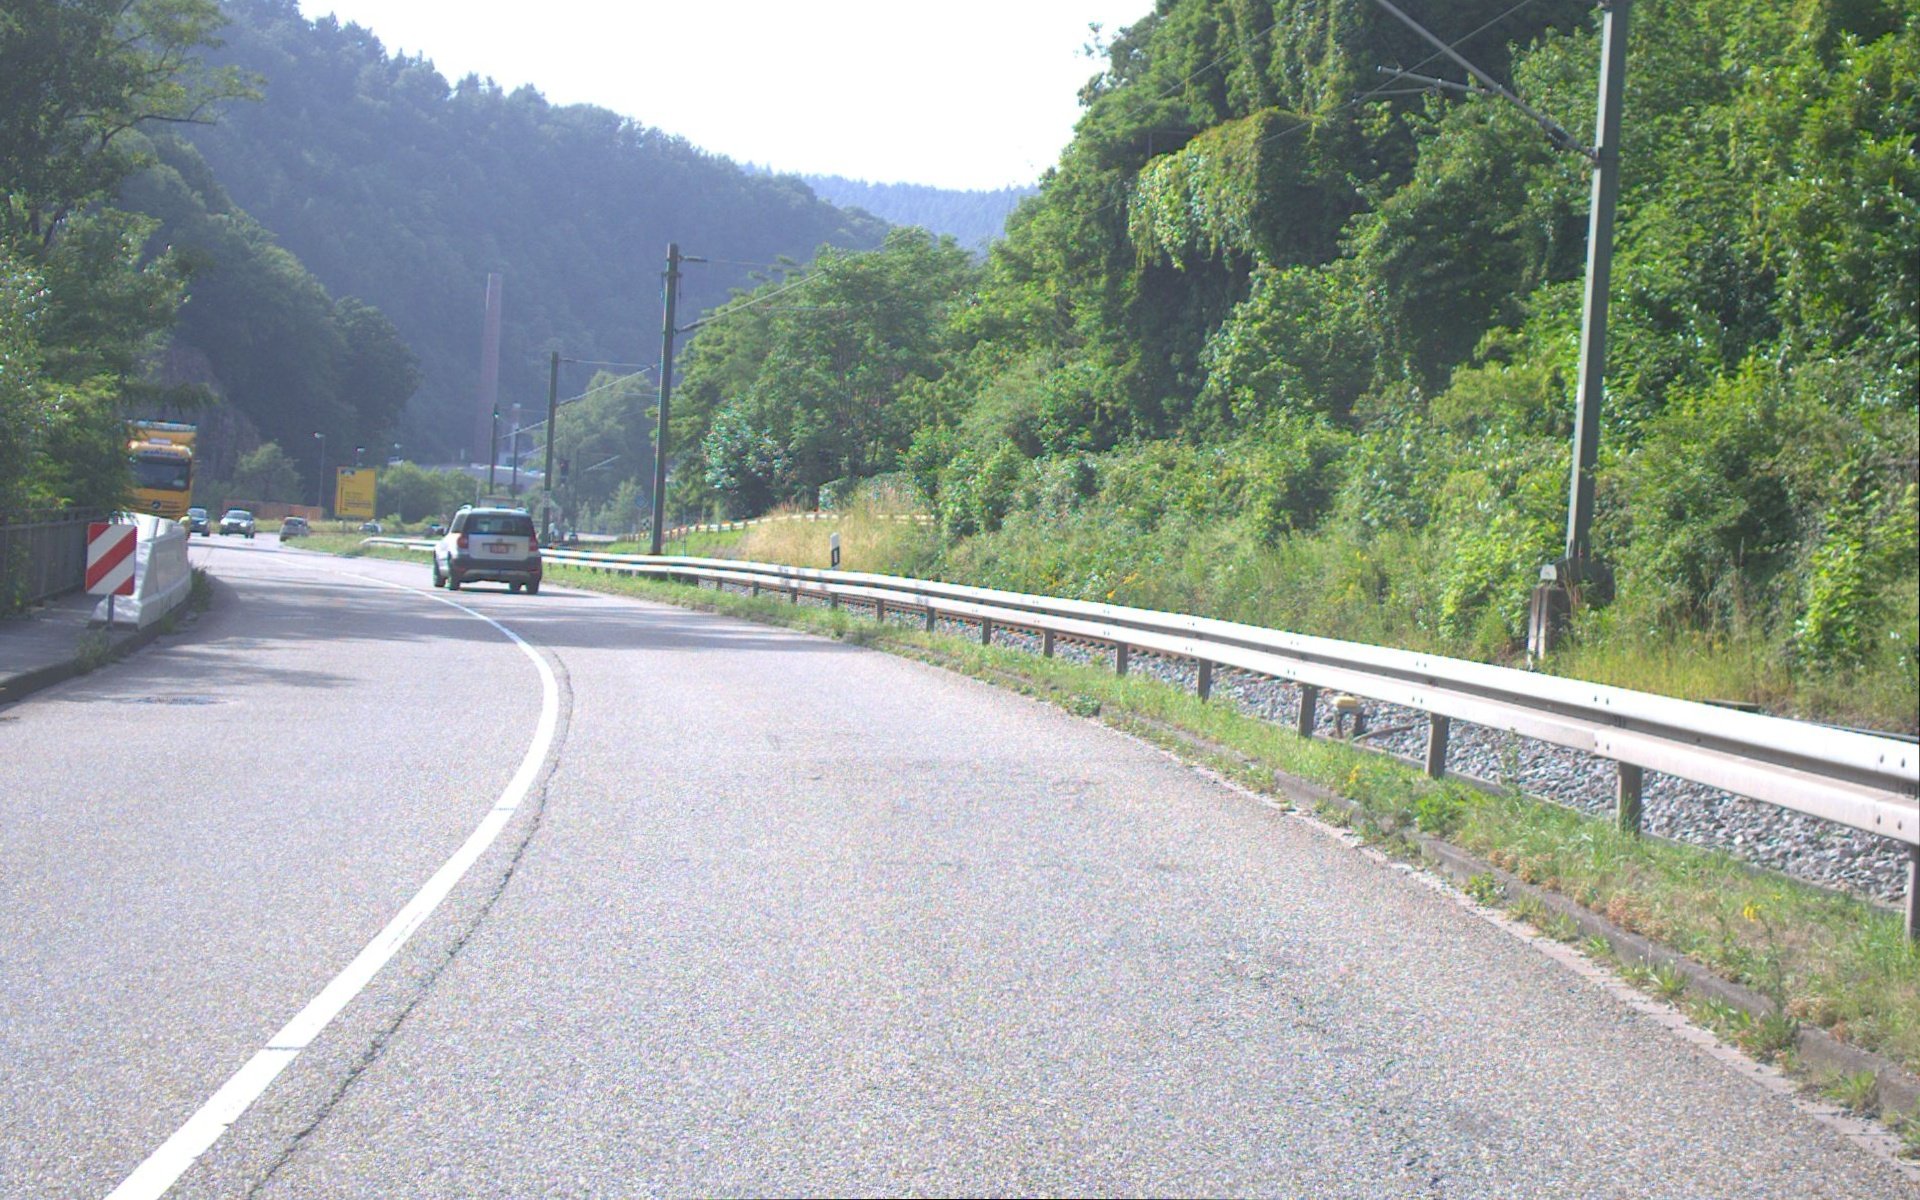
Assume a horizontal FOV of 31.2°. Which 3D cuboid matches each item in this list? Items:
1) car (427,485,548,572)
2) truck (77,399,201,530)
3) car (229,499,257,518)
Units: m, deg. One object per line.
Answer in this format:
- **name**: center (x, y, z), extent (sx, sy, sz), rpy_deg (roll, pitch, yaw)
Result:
- **car**: center (-9.378, -1.423, 68.056), extent (1.872, 1.650, 4.001), rpy_deg (1, 1, -15)
- **truck**: center (-29.079, -4.705, 121.385), extent (3.368, 4.368, 12.713), rpy_deg (0, 1, -17)
- **car**: center (-46.074, -5.889, 220.942), extent (1.472, 1.081, 3.274), rpy_deg (5, 1, -7)
